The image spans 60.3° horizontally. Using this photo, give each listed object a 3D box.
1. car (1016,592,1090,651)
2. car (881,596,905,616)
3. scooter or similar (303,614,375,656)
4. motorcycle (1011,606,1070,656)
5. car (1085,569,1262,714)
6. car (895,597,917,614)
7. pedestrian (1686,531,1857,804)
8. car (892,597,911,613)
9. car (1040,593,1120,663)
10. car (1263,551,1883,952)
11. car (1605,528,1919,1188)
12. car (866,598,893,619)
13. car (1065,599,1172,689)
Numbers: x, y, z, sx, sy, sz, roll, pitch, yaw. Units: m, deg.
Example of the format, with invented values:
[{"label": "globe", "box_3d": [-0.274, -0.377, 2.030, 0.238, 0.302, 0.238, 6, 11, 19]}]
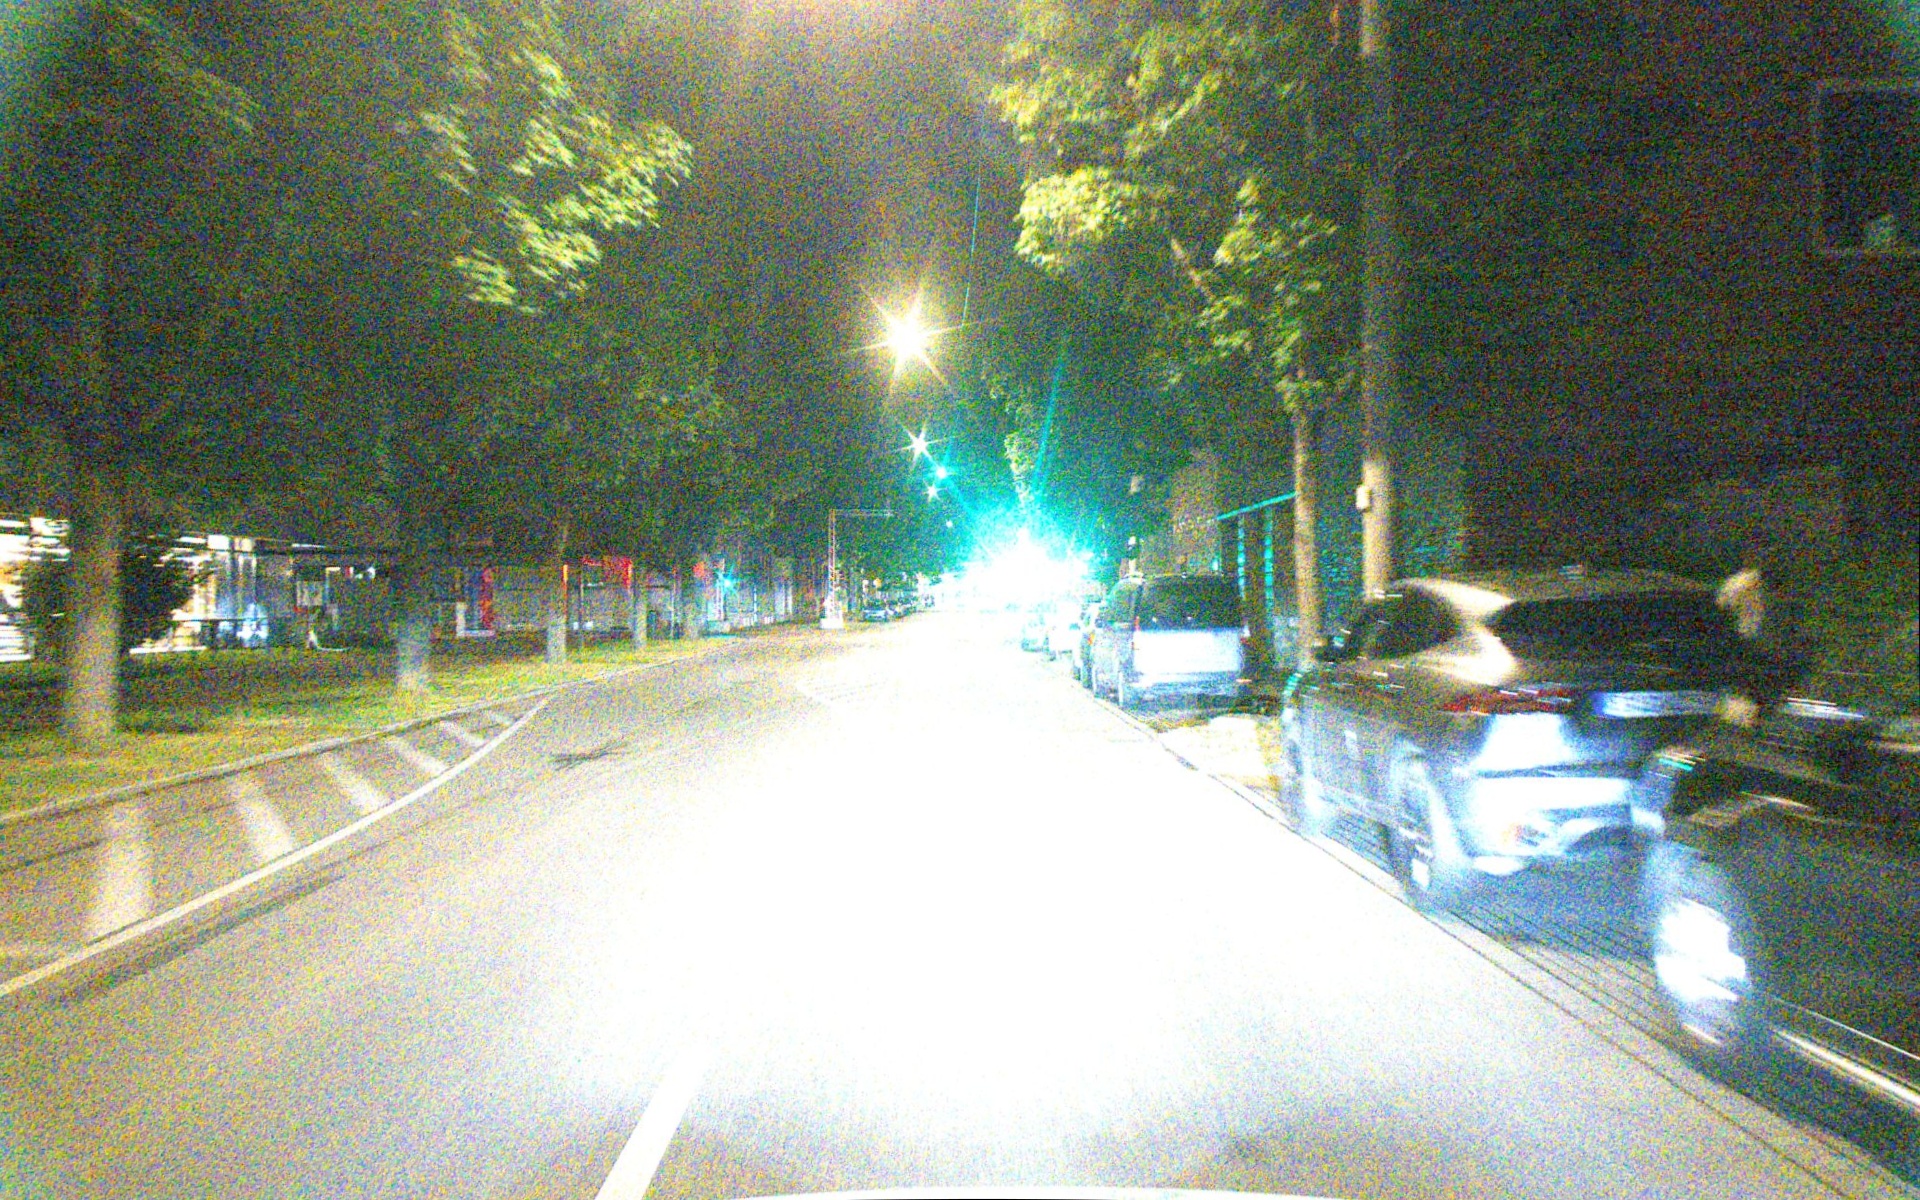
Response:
[{"label": "car", "box_3d": [2.658, 0.586, 48.140, 1.815, 1.618, 4.299, -1, 0, -1]}, {"label": "car", "box_3d": [-5.117, 0.482, 127.086, 1.705, 1.440, 3.752, 0, 1, 0]}, {"label": "scooter or similar", "box_3d": [-16.132, 0.910, 42.963, 1.639, 1.025, 0.544, 2, 0, 1]}, {"label": "motorcycle", "box_3d": [2.168, 0.826, 44.242, 0.625, 1.292, 2.058, 0, 0, 34]}, {"label": "car", "box_3d": [2.980, 0.535, 23.991, 1.736, 1.838, 4.275, -2, 0, -3]}, {"label": "car", "box_3d": [-4.604, 0.486, 141.159, 1.705, 1.440, 3.751, 0, 0, 0]}, {"label": "pedestrian", "box_3d": [5.470, 0.436, 11.189, 0.691, 1.752, 0.821, -2, 0, -1]}, {"label": "car", "box_3d": [-5.471, 0.435, 154.761, 1.705, 1.440, 3.751, 0, 0, 0]}, {"label": "car", "box_3d": [2.915, 0.647, 40.838, 1.559, 1.561, 4.137, -2, 0, -1]}, {"label": "car", "box_3d": [3.095, 0.662, 9.404, 1.816, 1.632, 4.208, -4, 0, -1]}, {"label": "car", "box_3d": [3.334, 0.625, 3.958, 1.816, 1.682, 4.208, -2, 0, -1]}, {"label": "car", "box_3d": [-5.426, 0.561, 111.624, 1.705, 1.440, 3.751, 0, 0, 0]}, {"label": "car", "box_3d": [2.758, 0.733, 29.429, 1.489, 1.420, 3.984, -2, 0, 0]}]
